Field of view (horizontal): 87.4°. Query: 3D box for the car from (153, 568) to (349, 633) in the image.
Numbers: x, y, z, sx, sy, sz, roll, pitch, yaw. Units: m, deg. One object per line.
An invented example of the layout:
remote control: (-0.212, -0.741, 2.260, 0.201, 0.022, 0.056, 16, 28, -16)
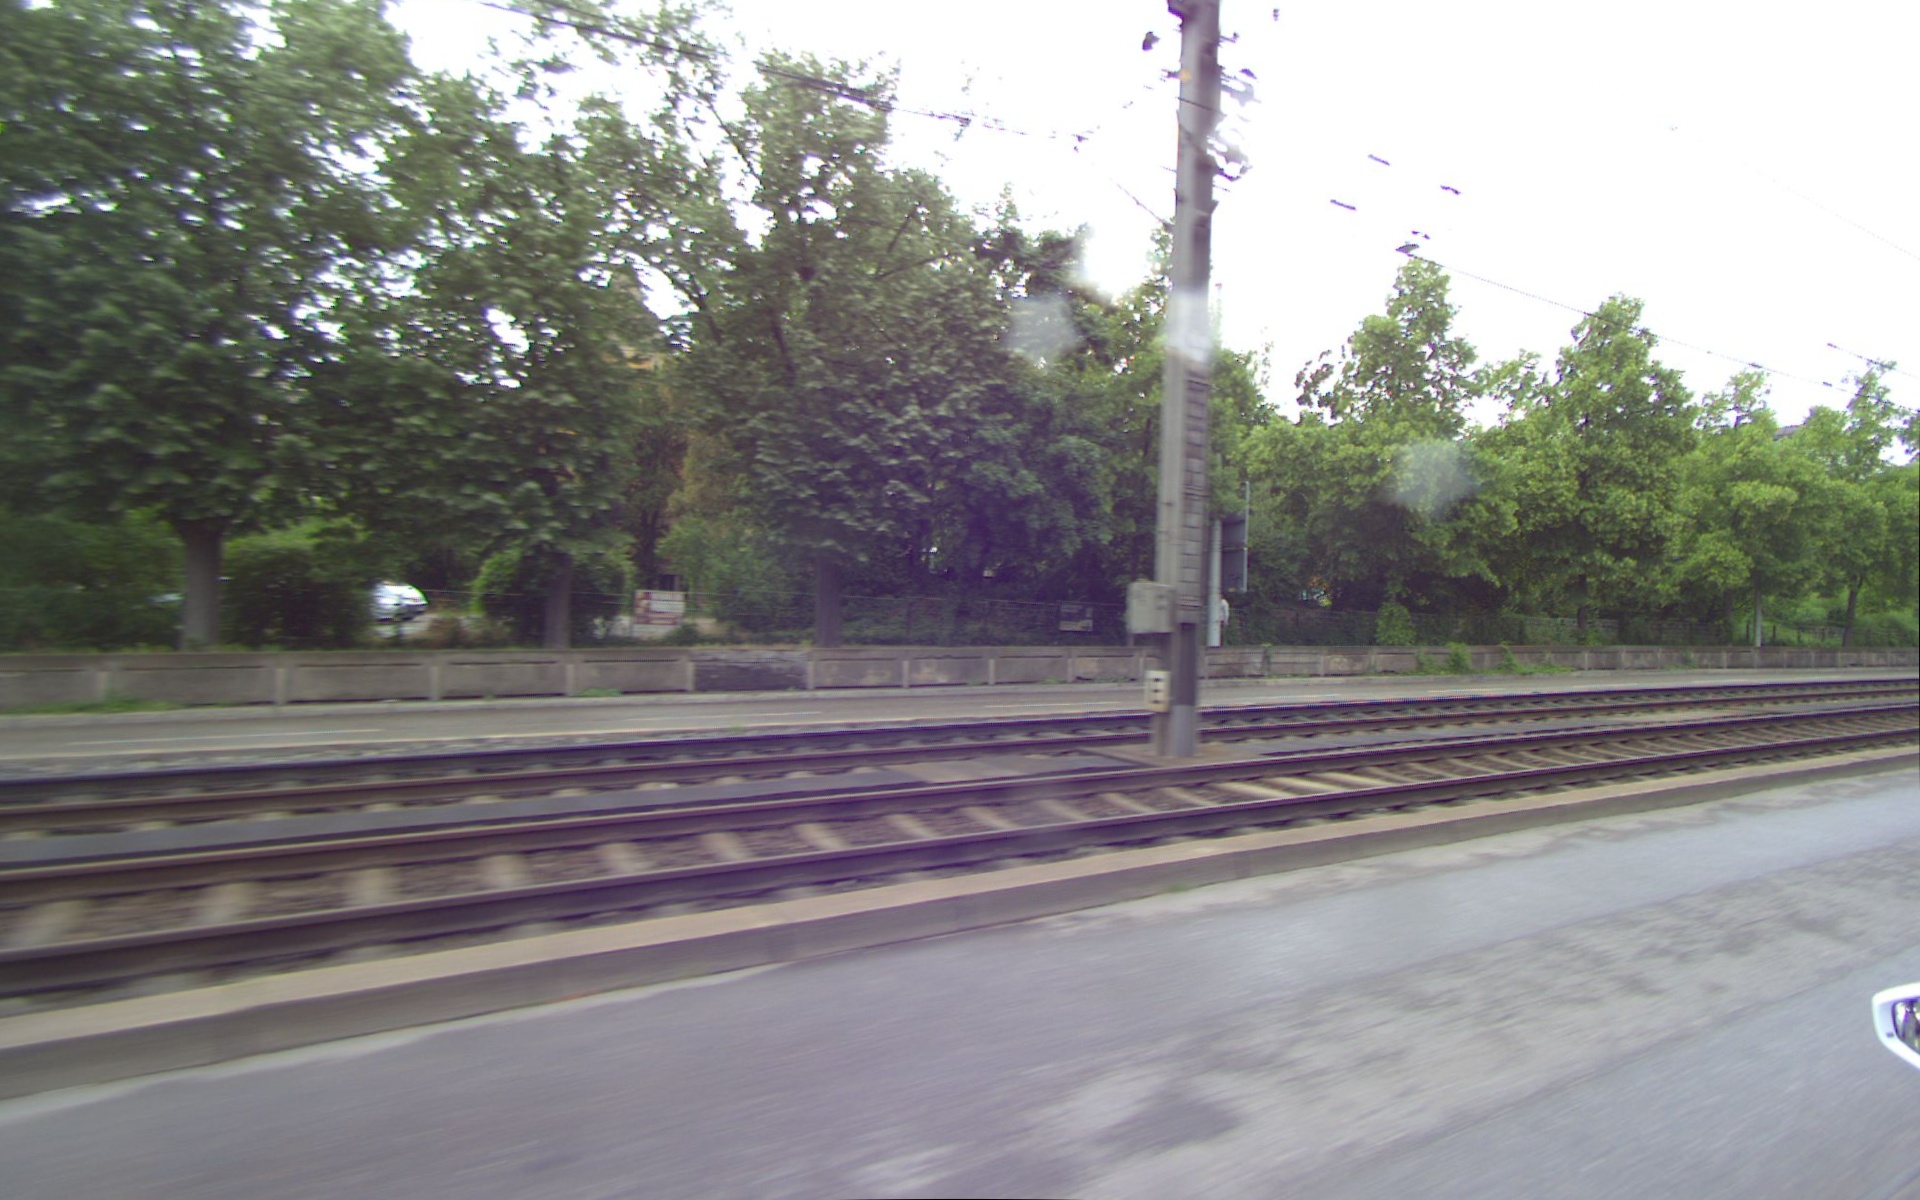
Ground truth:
car: (-19.673, 0.012, 28.061, 3.929, 1.643, 1.996, 2, 1, -11)

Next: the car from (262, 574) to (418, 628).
car: (-20.630, 0.028, 33.601, 3.929, 1.643, 1.996, 2, 1, -11)

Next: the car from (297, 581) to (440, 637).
car: (-21.030, 0.332, 35.880, 3.929, 1.933, 1.996, 1, 0, -11)

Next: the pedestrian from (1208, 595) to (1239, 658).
pedestrian: (8.267, 0.833, 31.485, 0.646, 1.928, 0.593, 1, 1, -30)
